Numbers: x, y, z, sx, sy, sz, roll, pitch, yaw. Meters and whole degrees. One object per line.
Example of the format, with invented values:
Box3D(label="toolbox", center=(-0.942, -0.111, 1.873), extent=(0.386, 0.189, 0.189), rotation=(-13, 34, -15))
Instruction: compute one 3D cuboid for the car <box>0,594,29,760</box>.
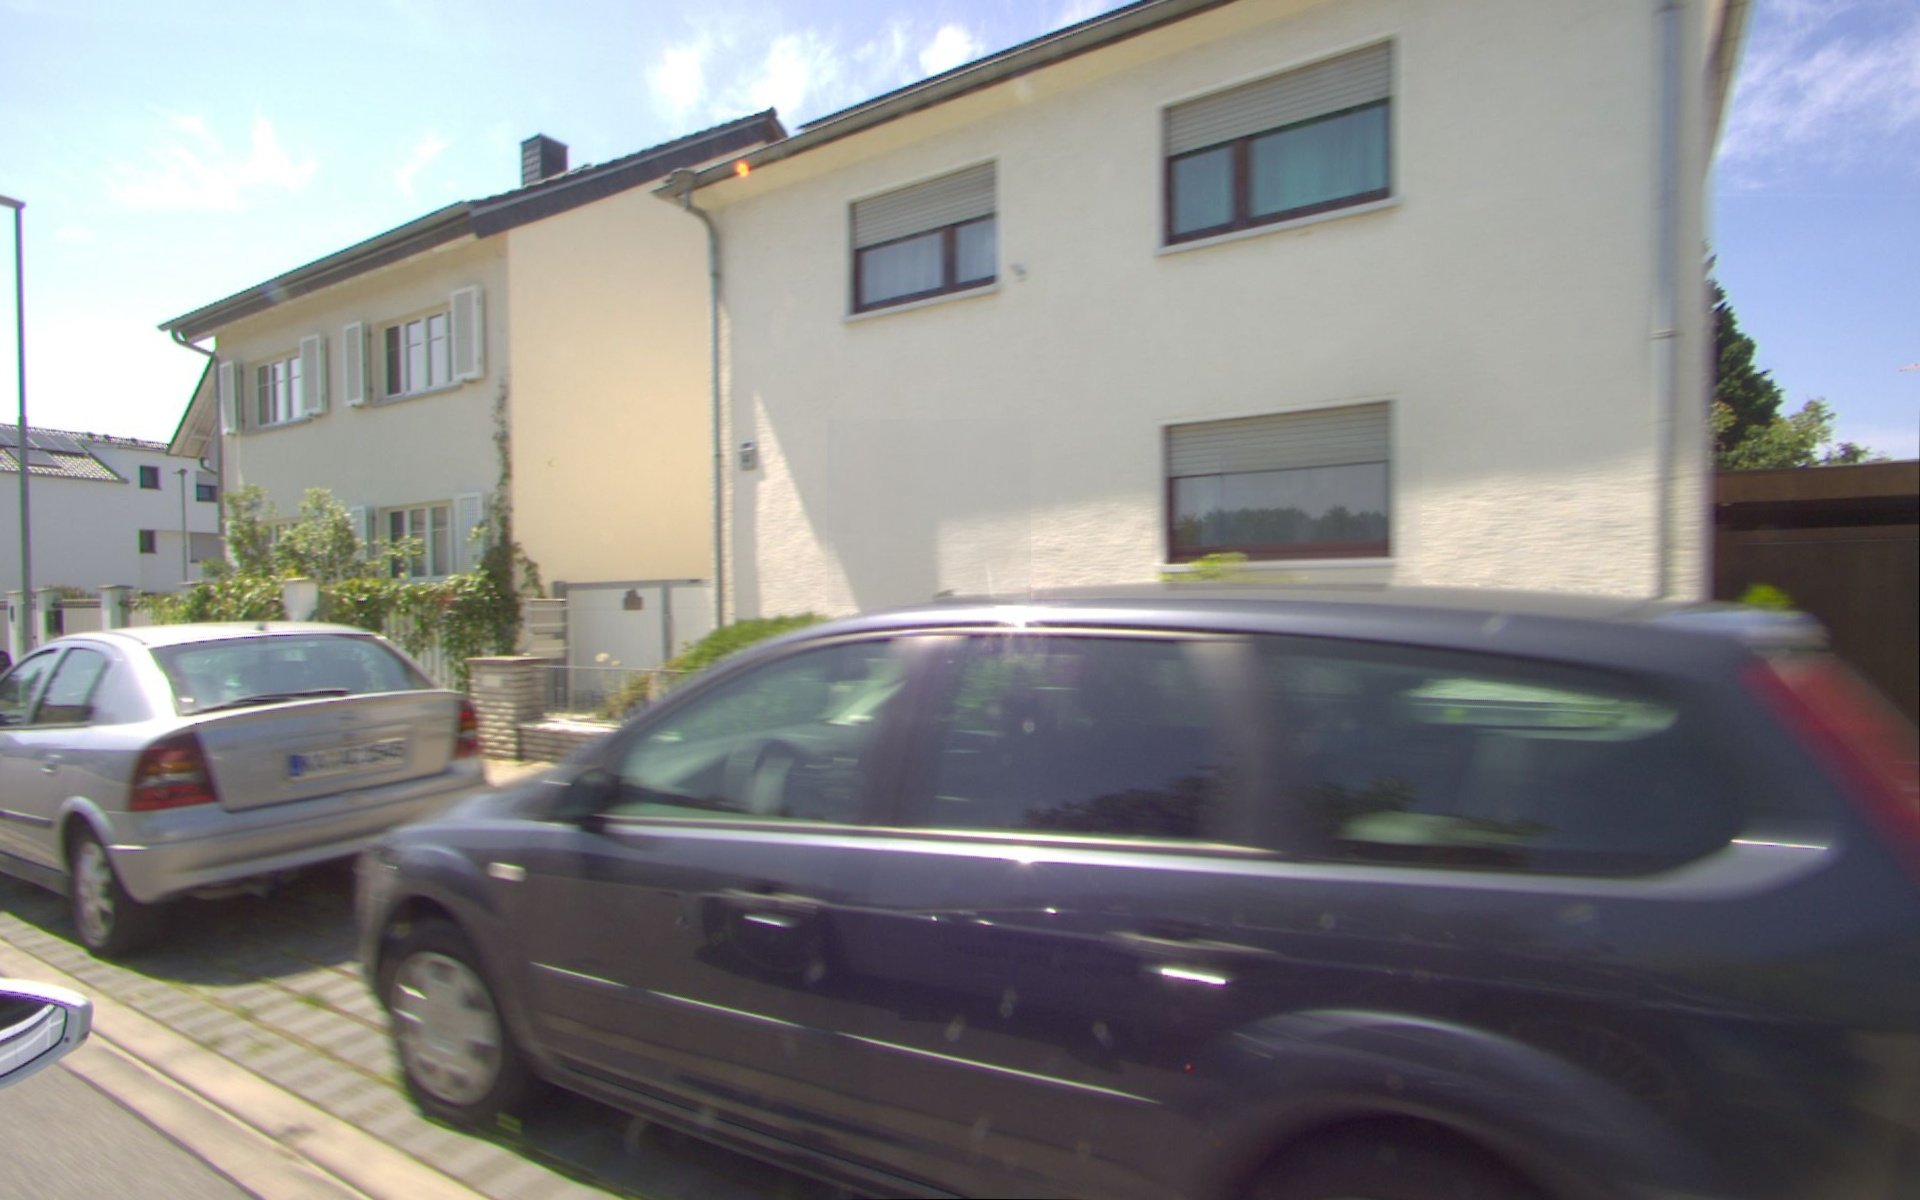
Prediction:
Box3D(label="car", center=(-11.990, 0.787, 10.825), extent=(4.500, 1.678, 1.810), rotation=(0, 0, 33))

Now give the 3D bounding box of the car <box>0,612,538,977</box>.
Box3D(label="car", center=(-4.503, 0.803, 5.870), extent=(4.035, 1.439, 1.810), rotation=(-1, 0, 33))

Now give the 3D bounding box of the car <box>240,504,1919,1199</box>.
Box3D(label="car", center=(-0.019, 0.688, 2.891), extent=(4.383, 1.553, 1.739), rotation=(-1, 0, 31))
